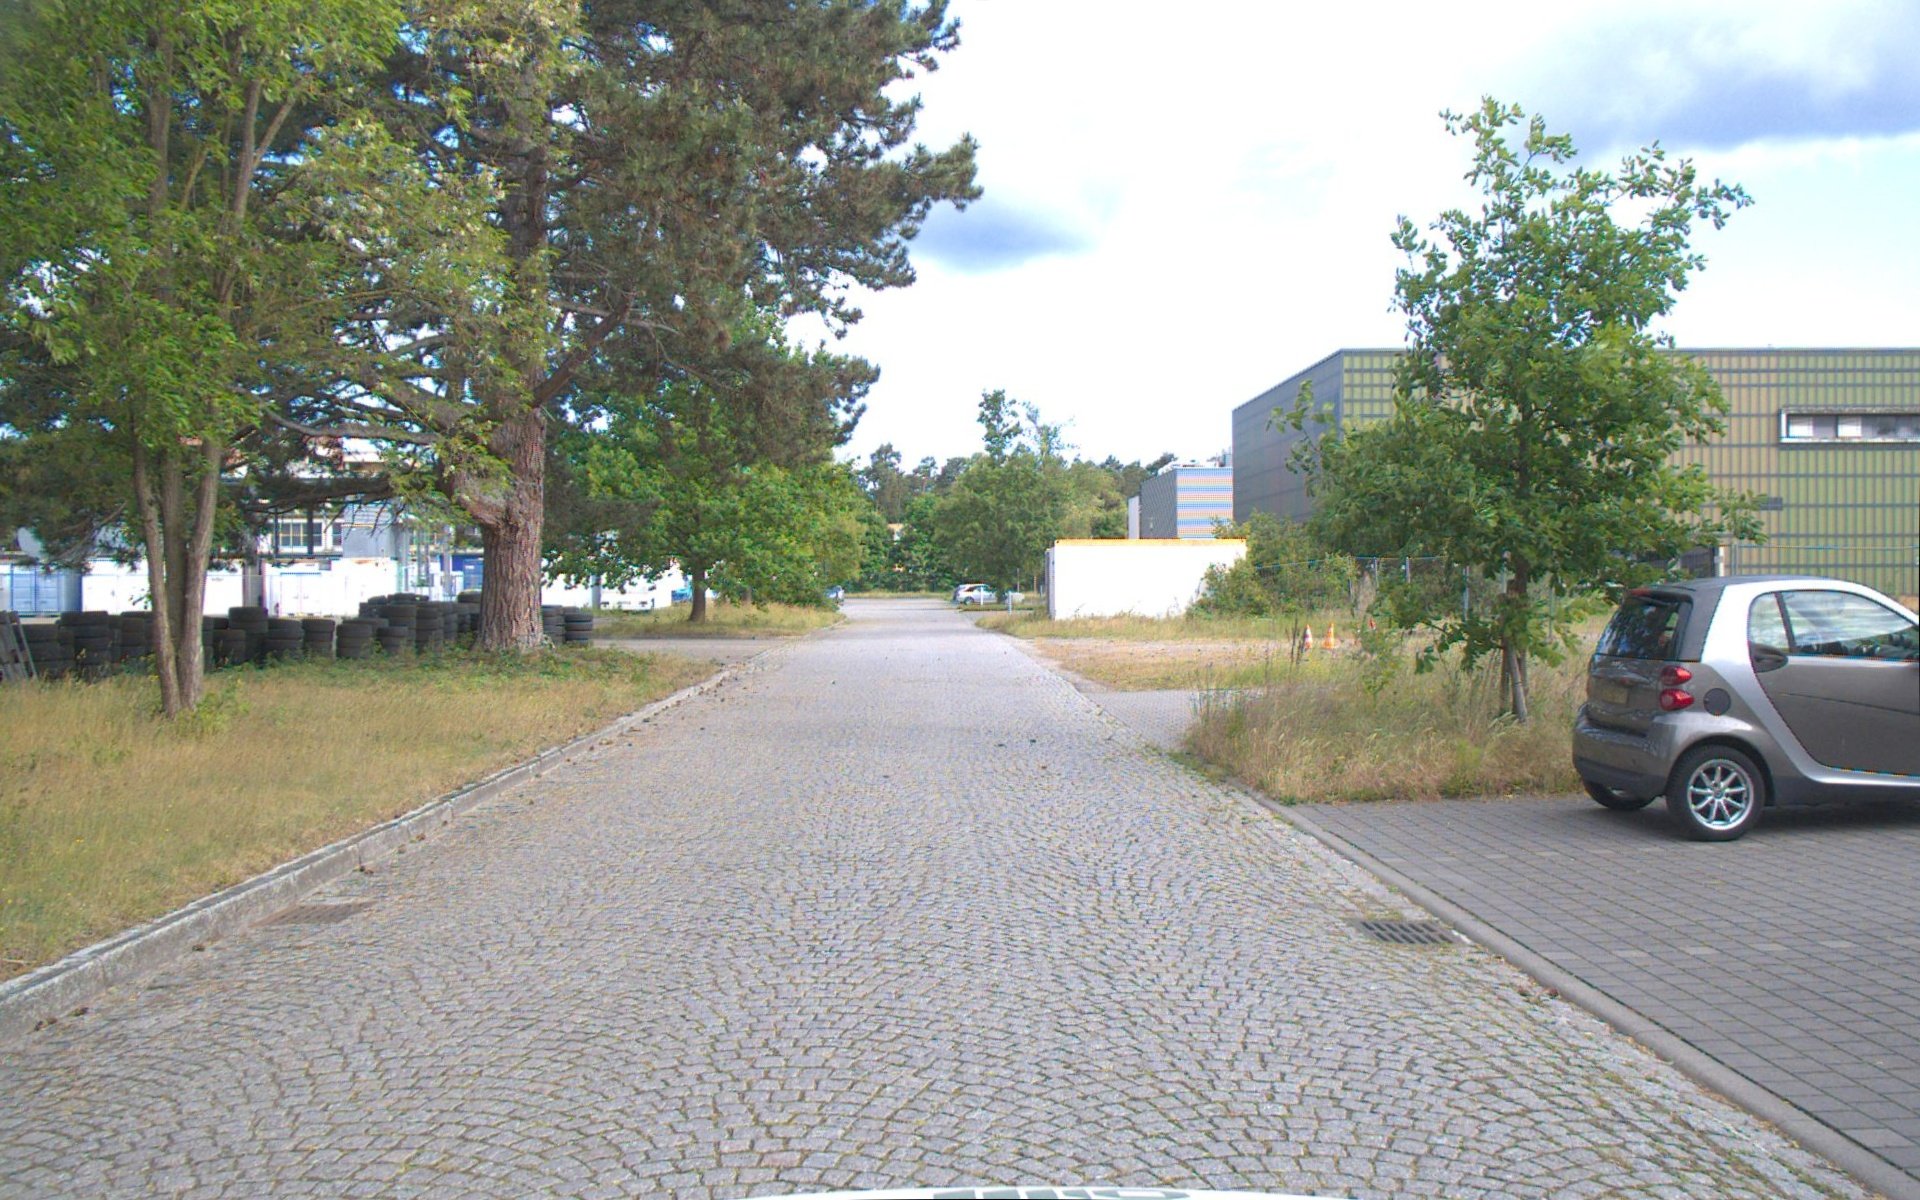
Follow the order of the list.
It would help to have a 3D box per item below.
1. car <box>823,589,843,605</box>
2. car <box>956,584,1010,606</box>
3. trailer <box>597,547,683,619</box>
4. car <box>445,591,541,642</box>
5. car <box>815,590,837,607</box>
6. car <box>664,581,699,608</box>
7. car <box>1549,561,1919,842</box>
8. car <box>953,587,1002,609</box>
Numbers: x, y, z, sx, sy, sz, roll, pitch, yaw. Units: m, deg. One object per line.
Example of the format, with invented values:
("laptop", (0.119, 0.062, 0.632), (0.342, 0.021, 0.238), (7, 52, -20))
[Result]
("car", (-11.659, -0.279, 151.954), (1.614, 1.484, 3.997), (0, 0, -2))
("car", (1.724, -0.351, 123.169), (3.904, 1.473, 1.653), (-3, 0, -1))
("trailer", (-17.173, -0.898, 89.495), (2.571, 3.661, 10.178), (0, 0, 1))
("car", (-14.525, 0.487, 51.645), (1.591, 1.458, 4.066), (-1, 1, 4))
("car", (-11.475, -0.155, 141.615), (1.614, 1.393, 3.997), (0, 0, -2))
("car", (-21.727, -0.419, 129.254), (1.953, 2.049, 4.766), (0, 0, -1))
("car", (5.486, 0.588, 10.768), (2.655, 1.583, 1.653), (-3, 0, -1))
("car", (1.274, -0.155, 120.460), (3.451, 1.386, 1.622), (-2, 0, -1))
